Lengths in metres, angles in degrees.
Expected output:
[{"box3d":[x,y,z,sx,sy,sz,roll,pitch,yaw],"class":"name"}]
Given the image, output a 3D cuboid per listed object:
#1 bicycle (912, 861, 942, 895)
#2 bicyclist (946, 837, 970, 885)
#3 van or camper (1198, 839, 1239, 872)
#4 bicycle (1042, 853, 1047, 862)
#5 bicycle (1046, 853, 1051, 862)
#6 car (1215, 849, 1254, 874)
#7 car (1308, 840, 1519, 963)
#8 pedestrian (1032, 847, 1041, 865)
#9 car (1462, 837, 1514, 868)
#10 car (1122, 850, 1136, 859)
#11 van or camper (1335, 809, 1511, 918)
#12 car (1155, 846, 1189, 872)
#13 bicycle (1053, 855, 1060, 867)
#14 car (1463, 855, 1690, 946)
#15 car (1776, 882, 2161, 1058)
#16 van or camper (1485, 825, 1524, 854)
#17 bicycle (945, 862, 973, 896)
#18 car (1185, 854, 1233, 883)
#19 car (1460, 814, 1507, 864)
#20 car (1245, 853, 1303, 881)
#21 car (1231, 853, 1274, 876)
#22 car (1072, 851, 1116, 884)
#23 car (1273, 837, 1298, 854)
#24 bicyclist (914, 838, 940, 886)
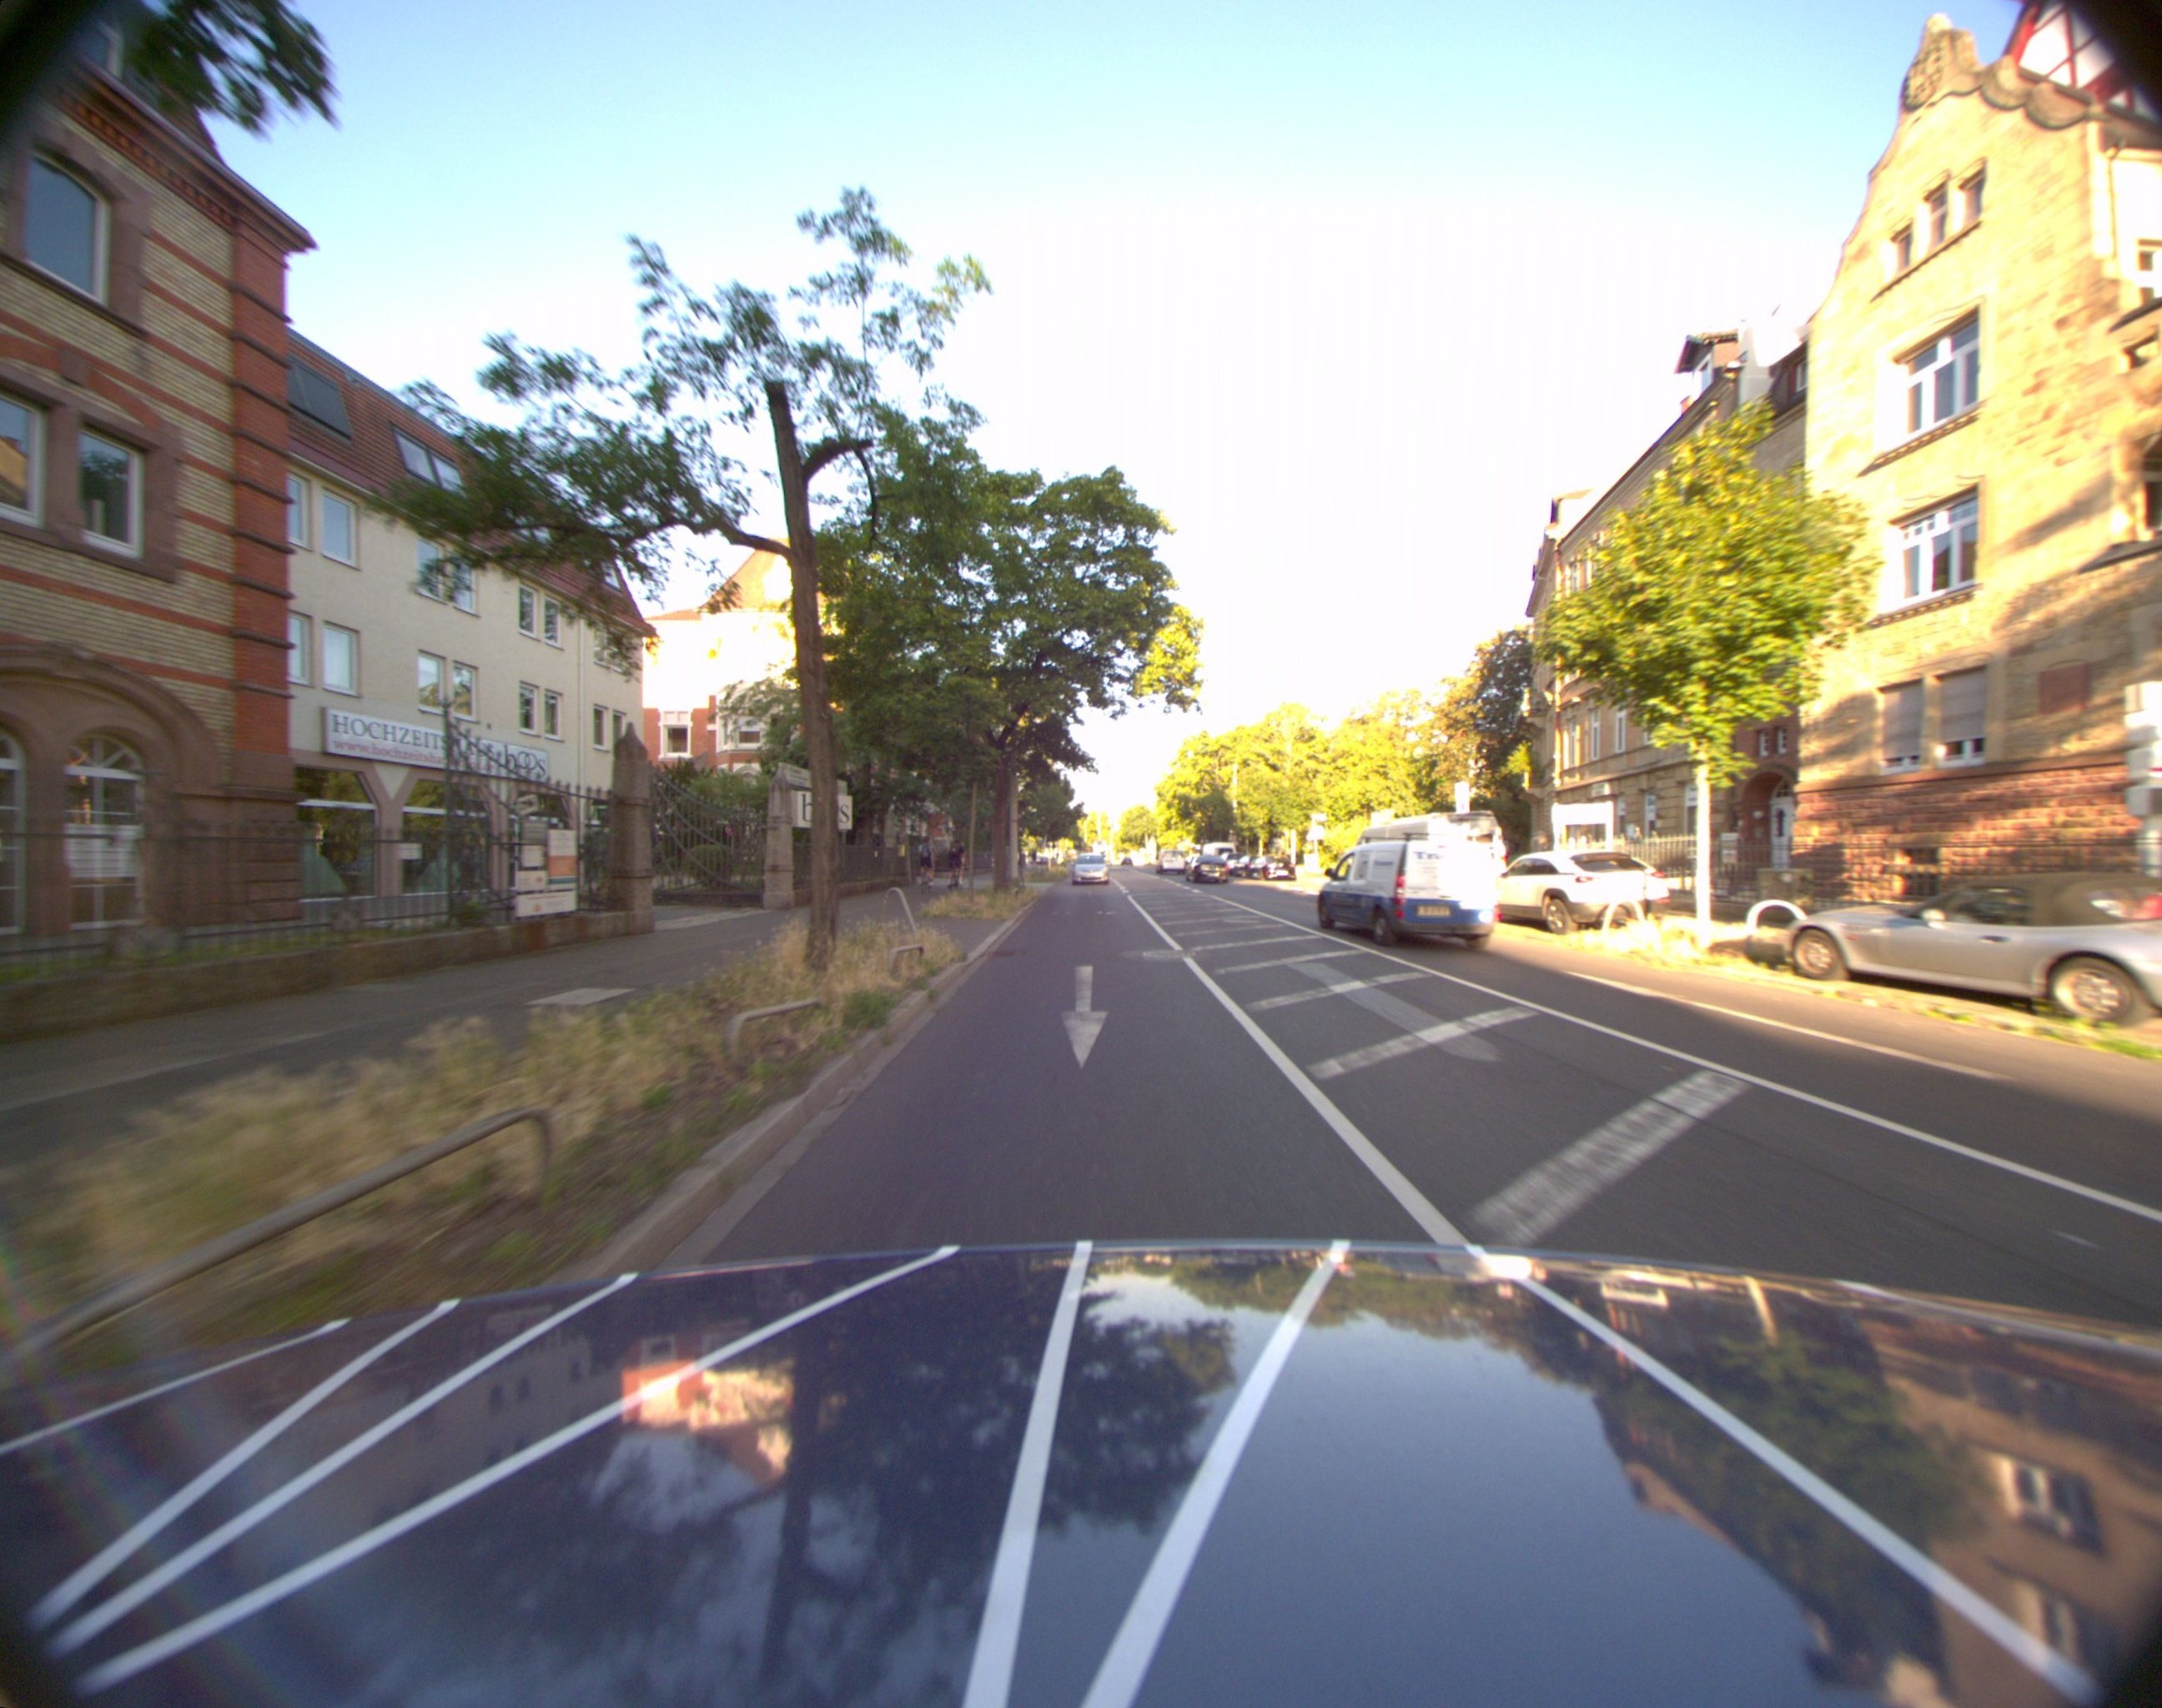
[{"box3d":[-4.993,0.770,24.763,0.518,1.034,2.089,-1,0,0],"class":"bicycle"},{"box3d":[-3.999,0.236,24.688,0.597,1.523,0.893,-1,0,0],"class":"bicyclist"},{"box3d":[11.178,0.124,62.312,2.096,2.454,6.305,2,0,0],"class":"van or camper"},{"box3d":[-5.407,0.474,113.023,0.567,1.268,2.263,4,1,-4],"class":"bicycle"},{"box3d":[-4.826,0.471,113.071,0.567,1.292,2.263,4,1,-4],"class":"bicycle"},{"box3d":[11.042,0.529,54.852,1.870,1.635,4.571,1,0,0],"class":"car"},{"box3d":[5.794,0.732,13.941,1.837,1.842,4.473,2,0,0],"class":"car"},{"box3d":[-4.526,0.244,76.717,0.748,1.768,0.831,4,0,-8],"class":"pedestrian"},{"box3d":[21.111,-0.063,39.556,1.995,1.528,4.570,2,0,24],"class":"car"},{"box3d":[7.374,0.053,116.923,1.770,1.394,4.545,1,0,1],"class":"car"},{"box3d":[9.483,0.238,21.827,1.999,2.653,6.036,-1,0,-4],"class":"van or camper"},{"box3d":[6.895,0.363,57.930,1.998,1.821,5.170,2,0,1],"class":"car"},{"box3d":[-2.284,0.643,71.026,0.648,1.160,1.930,-1,0,-3],"class":"bicycle"},{"box3d":[9.677,0.810,15.333,1.750,1.526,4.302,-1,0,0],"class":"car"},{"box3d":[9.277,0.977,7.477,1.540,1.241,3.614,-1,0,0],"class":"car"},{"box3d":[37.612,-1.250,67.444,2.203,2.340,5.322,2,0,38],"class":"van or camper"},{"box3d":[-3.971,0.803,24.855,0.545,1.034,2.089,-1,0,0],"class":"bicycle"},{"box3d":[6.488,0.701,38.965,1.764,1.378,4.304,2,0,1],"class":"car"},{"box3d":[23.454,-0.813,44.434,2.121,2.723,5.320,2,0,26],"class":"car"},{"box3d":[10.647,0.693,42.288,1.998,1.475,4.829,1,0,0],"class":"car"},{"box3d":[10.980,0.660,49.033,1.740,1.437,4.625,1,0,0],"class":"car"},{"box3d":[0.579,0.654,36.749,1.895,1.454,3.965,1,-1,-2],"class":"car"},{"box3d":[27.986,-1.142,103.994,2.220,2.275,5.099,0,0,3],"class":"car"},{"box3d":[-4.997,0.269,24.703,0.597,1.523,0.893,-1,0,0],"class":"bicyclist"}]
